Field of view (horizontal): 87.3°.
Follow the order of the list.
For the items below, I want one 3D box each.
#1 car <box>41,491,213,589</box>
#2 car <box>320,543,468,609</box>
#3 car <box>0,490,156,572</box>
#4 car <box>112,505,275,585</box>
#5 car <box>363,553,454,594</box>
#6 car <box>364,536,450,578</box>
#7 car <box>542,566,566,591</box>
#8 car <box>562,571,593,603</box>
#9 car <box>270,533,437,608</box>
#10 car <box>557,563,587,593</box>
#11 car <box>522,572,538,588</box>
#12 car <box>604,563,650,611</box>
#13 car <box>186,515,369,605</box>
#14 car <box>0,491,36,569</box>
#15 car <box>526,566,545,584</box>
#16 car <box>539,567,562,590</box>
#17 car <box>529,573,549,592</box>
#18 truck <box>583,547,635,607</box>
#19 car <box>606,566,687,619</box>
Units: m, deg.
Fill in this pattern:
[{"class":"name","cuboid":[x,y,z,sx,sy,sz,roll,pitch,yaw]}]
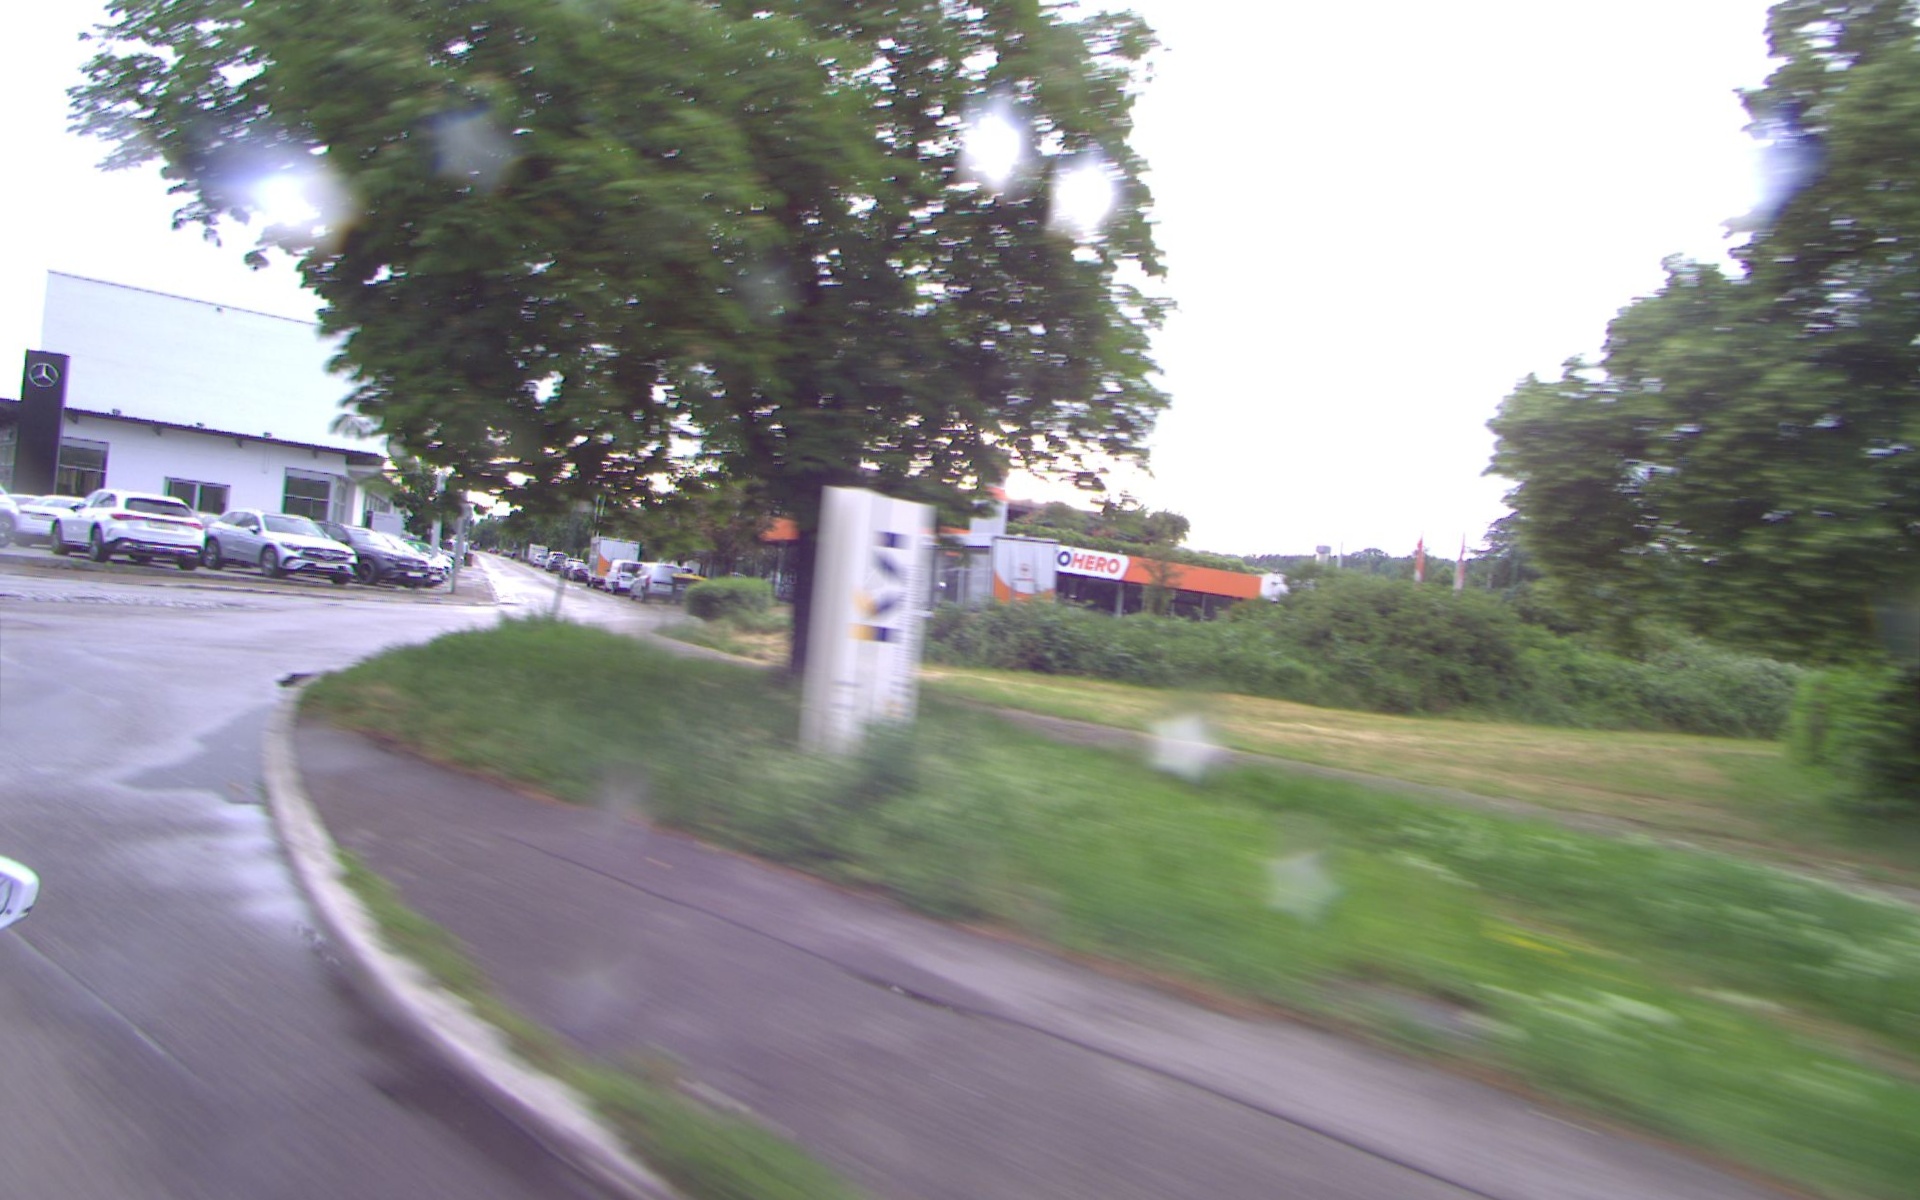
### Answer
[{"class":"car","cuboid":[-19.509,-1.431,23.515,4.196,1.849,1.829,5,-3,34]},{"class":"car","cuboid":[-18.704,-0.792,33.242,4.534,1.620,1.657,6,-3,23]},{"class":"car","cuboid":[-24.725,-1.852,27.932,1.902,1.771,4.606,8,-2,-16]},{"class":"car","cuboid":[-22.365,-1.529,29.619,1.900,1.771,4.610,8,-2,-13]},{"class":"car","cuboid":[-26.395,-1.229,48.177,3.629,1.391,1.644,9,-4,-30]},{"class":"car","cuboid":[-28.214,-2.175,51.377,3.632,1.512,1.642,9,-4,-33]},{"class":"car","cuboid":[-38.407,-2.013,95.233,1.900,2.065,4.272,7,-2,-22]},{"class":"car","cuboid":[-27.928,-0.941,73.429,1.900,2.065,4.272,7,-2,-22]},{"class":"car","cuboid":[-17.761,-0.869,29.456,4.534,1.620,1.657,6,-3,23]},{"class":"car","cuboid":[-30.248,-1.688,78.402,1.900,2.065,4.272,7,-2,-22]},{"class":"car","cuboid":[-65.429,-3.025,153.206,1.900,2.065,4.272,7,-2,-22]},{"class":"car","cuboid":[-17.845,-0.693,53.783,1.900,2.277,4.272,7,-2,-22]},{"class":"car","cuboid":[-17.660,-1.057,25.986,4.540,1.770,1.942,5,-3,29]},{"class":"car","cuboid":[-23.257,-1.848,22.206,2.003,1.770,4.613,8,-3,-13]},{"class":"car","cuboid":[-53.214,-3.127,126.079,1.900,2.065,4.272,7,-2,-22]},{"class":"car","cuboid":[-40.708,-2.123,100.024,1.900,2.065,4.272,7,-2,-22]},{"class":"car","cuboid":[-50.211,-2.092,120.003,1.900,2.065,4.272,7,-2,-22]},{"class":"truck","cuboid":[-21.379,-1.275,61.060,2.454,3.027,6.896,8,-3,-20]},{"class":"car","cuboid":[-14.507,-0.371,46.411,1.770,2.057,4.242,9,-3,-42]}]
